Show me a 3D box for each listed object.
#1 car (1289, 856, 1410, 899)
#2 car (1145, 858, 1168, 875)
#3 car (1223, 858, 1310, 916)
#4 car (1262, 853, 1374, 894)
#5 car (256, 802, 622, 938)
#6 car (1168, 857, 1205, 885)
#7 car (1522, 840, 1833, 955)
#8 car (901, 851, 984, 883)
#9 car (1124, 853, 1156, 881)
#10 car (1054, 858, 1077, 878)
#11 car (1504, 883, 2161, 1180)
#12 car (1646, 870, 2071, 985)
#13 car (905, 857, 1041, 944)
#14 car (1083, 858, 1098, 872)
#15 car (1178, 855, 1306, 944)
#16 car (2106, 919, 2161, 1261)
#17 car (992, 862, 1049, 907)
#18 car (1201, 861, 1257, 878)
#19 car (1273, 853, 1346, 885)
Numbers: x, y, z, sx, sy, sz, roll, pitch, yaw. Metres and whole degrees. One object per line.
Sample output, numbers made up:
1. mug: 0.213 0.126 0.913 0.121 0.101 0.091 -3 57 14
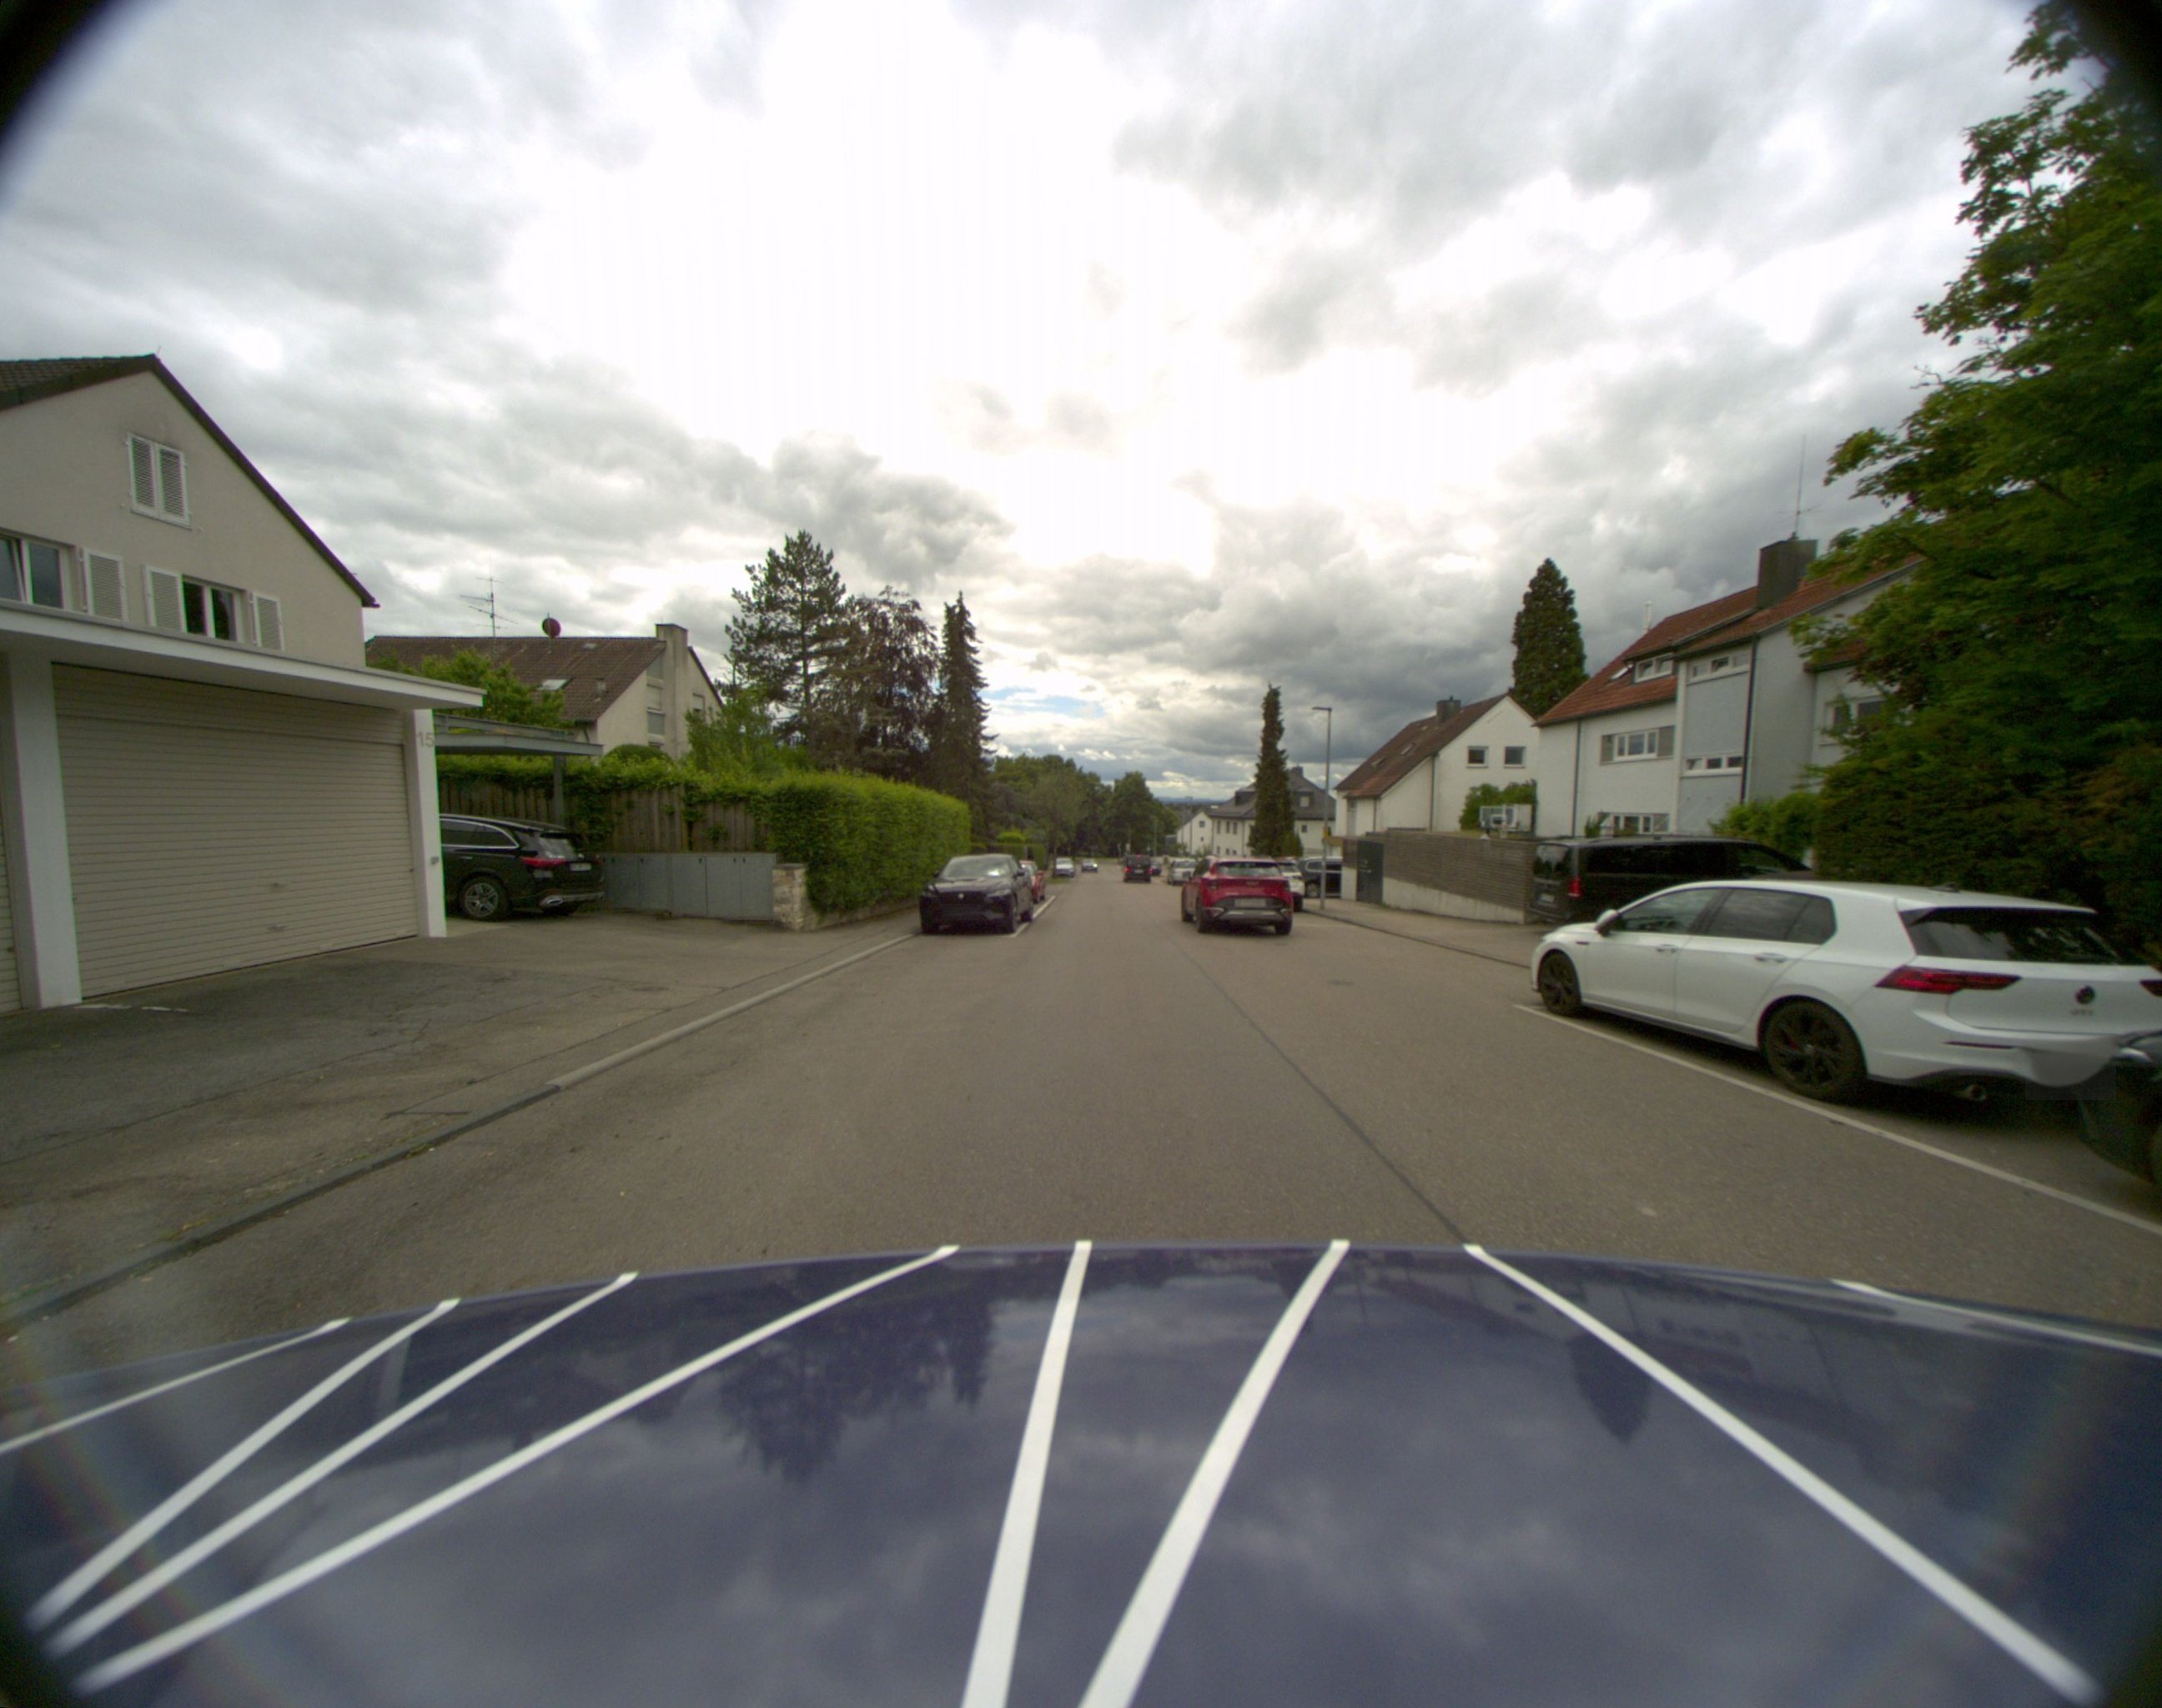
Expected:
1. car: 10.865 0.931 30.950 4.305 1.602 1.854 1 0 6
2. car: 6.958 1.134 70.602 1.882 1.527 3.507 1 0 1
3. car: 5.913 0.979 24.762 1.841 1.656 4.409 2 0 2
4. car: 10.582 0.850 34.147 4.422 1.619 1.911 -2 0 0
5. car: -10.509 0.254 12.714 4.375 1.639 1.885 6 0 0
6. car: 6.405 1.014 46.414 1.765 1.554 3.855 1 0 1
7. car: 10.872 0.714 14.199 4.079 1.938 2.001 0 2 9
8. car: -7.349 0.688 40.647 4.221 1.590 1.881 1 0 -8
9. car: 3.955 0.849 51.584 1.890 1.840 4.402 1 0 1
10. car: -1.253 1.154 64.199 1.860 1.573 4.171 -1 0 -1
11. car: 5.658 1.053 6.300 1.842 1.414 4.408 2 0 1
12. car: 10.938 0.974 11.061 3.992 1.437 1.781 0 0 14
13. car: -2.226 0.912 17.004 1.998 1.608 4.515 -2 0 5
14. car: 1.017 1.235 84.279 1.568 1.503 3.397 0 0 0
15. car: 3.362 0.881 16.700 1.946 1.637 4.258 2 0 1
16. car: 5.343 1.028 1.280 1.731 1.415 4.079 2 0 2
17. car: -2.102 1.031 27.400 1.665 1.499 3.759 0 0 1
18. car: 12.596 1.328 64.739 4.298 1.359 1.904 0 0 -4
19. car: 12.248 0.793 40.915 3.437 1.569 1.657 -2 1 2
